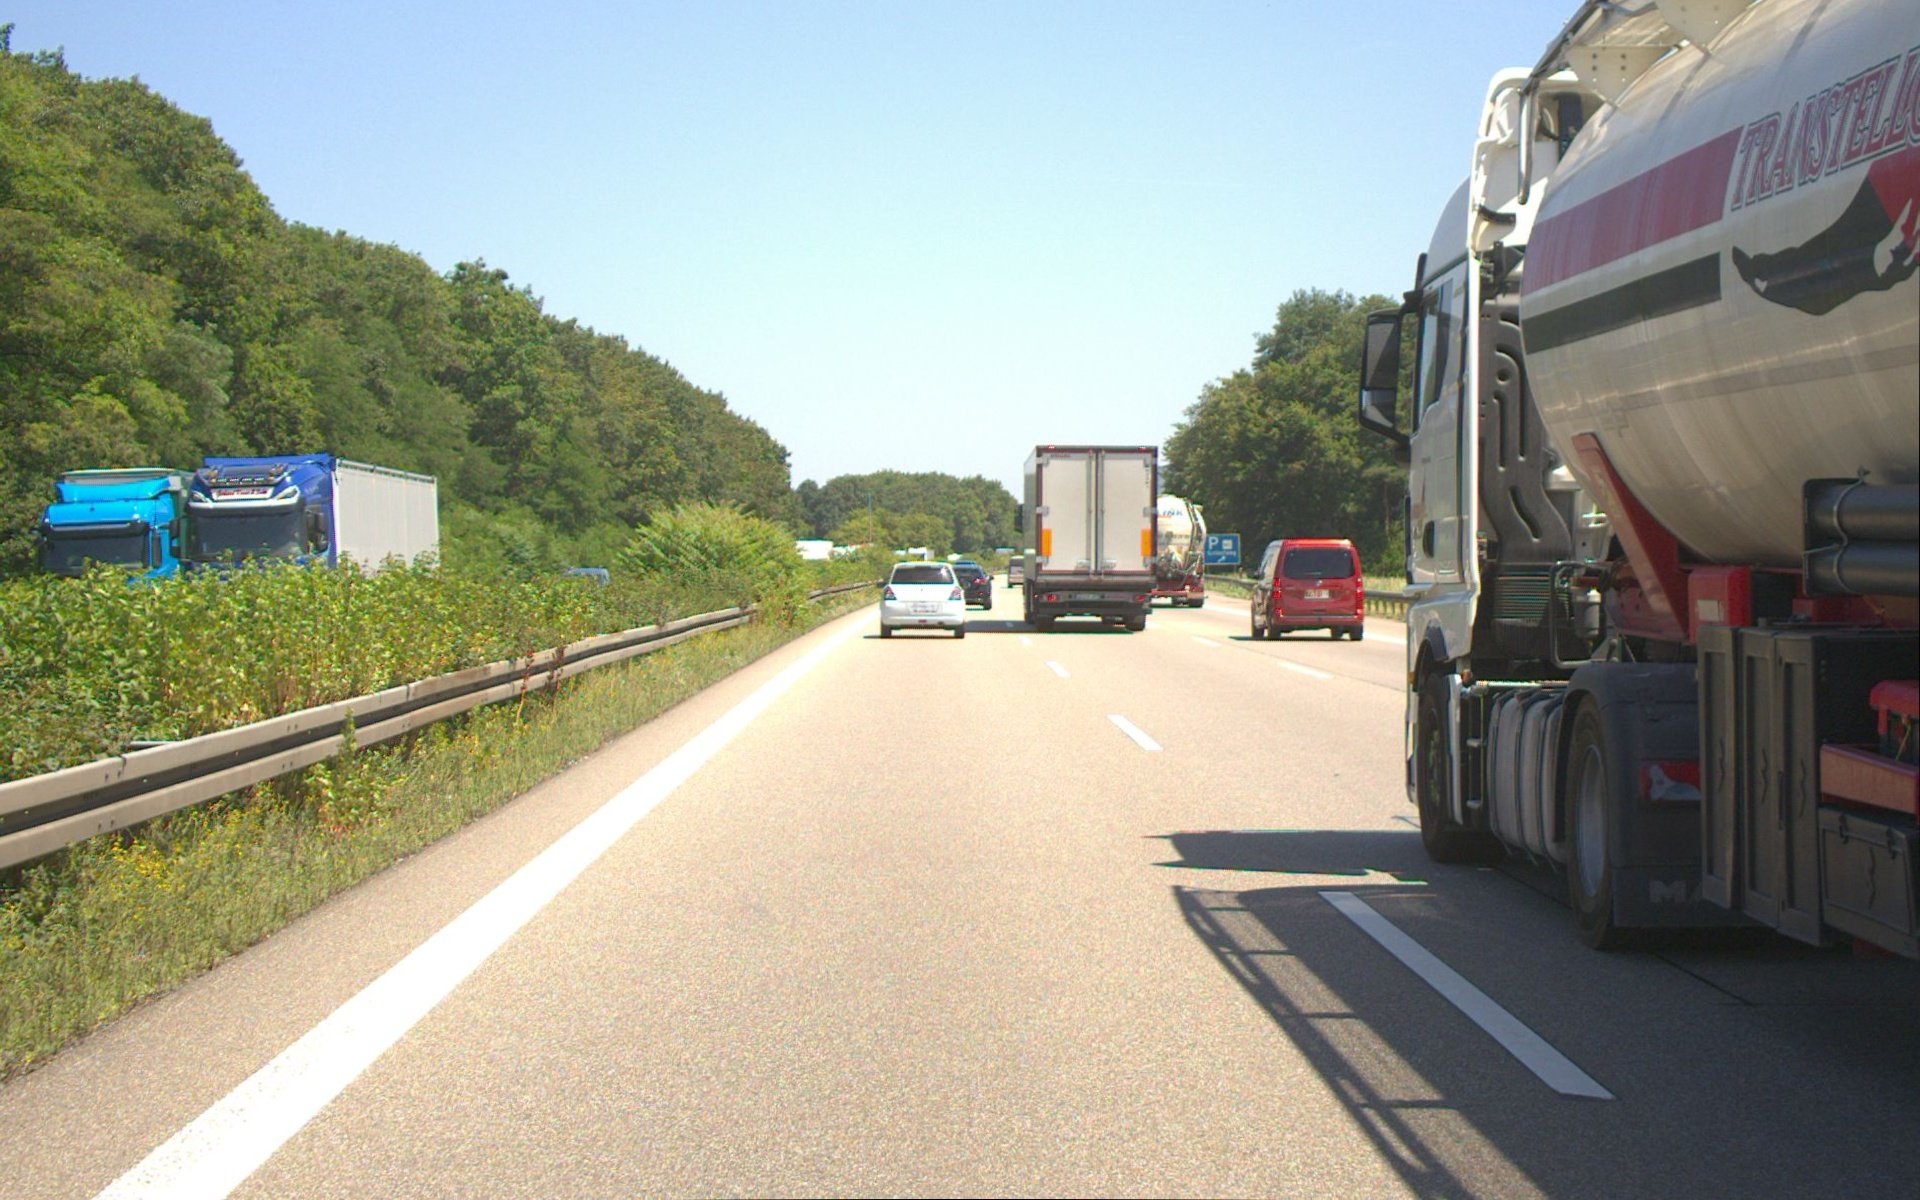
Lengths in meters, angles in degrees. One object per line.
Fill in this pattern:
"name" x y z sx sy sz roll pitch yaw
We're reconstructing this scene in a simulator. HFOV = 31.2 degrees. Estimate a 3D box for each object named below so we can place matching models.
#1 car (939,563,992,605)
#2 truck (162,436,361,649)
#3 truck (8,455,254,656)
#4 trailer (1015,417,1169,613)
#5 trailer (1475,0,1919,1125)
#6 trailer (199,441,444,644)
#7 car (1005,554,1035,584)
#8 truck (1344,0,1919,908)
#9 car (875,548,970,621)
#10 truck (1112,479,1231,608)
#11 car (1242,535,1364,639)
"car" 0.156 -0.525 110.217 1.668 1.285 4.000 0 1 0
"truck" -13.590 -1.114 67.218 2.870 3.996 5.000 0 1 0
"truck" -18.041 -0.989 75.586 3.013 4.100 10.001 0 1 0
"trailer" 2.937 -1.888 78.873 3.223 4.129 12.351 0 1 1
"trailer" 3.839 -0.760 9.055 2.790 4.190 12.354 0 1 -1
"trailer" -13.663 -1.229 74.853 2.870 3.996 13.518 0 1 0
"car" 3.561 -1.843 203.872 1.668 1.759 4.000 0 1 0
"truck" 3.628 -0.860 16.836 2.790 4.190 5.000 0 1 -1
"car" -0.778 -0.327 68.838 1.811 1.400 3.318 0 1 -2
"truck" 7.372 -1.986 121.144 3.223 4.330 10.808 0 1 -1
"car" 6.867 -0.289 69.309 1.855 1.996 5.522 1 1 0
